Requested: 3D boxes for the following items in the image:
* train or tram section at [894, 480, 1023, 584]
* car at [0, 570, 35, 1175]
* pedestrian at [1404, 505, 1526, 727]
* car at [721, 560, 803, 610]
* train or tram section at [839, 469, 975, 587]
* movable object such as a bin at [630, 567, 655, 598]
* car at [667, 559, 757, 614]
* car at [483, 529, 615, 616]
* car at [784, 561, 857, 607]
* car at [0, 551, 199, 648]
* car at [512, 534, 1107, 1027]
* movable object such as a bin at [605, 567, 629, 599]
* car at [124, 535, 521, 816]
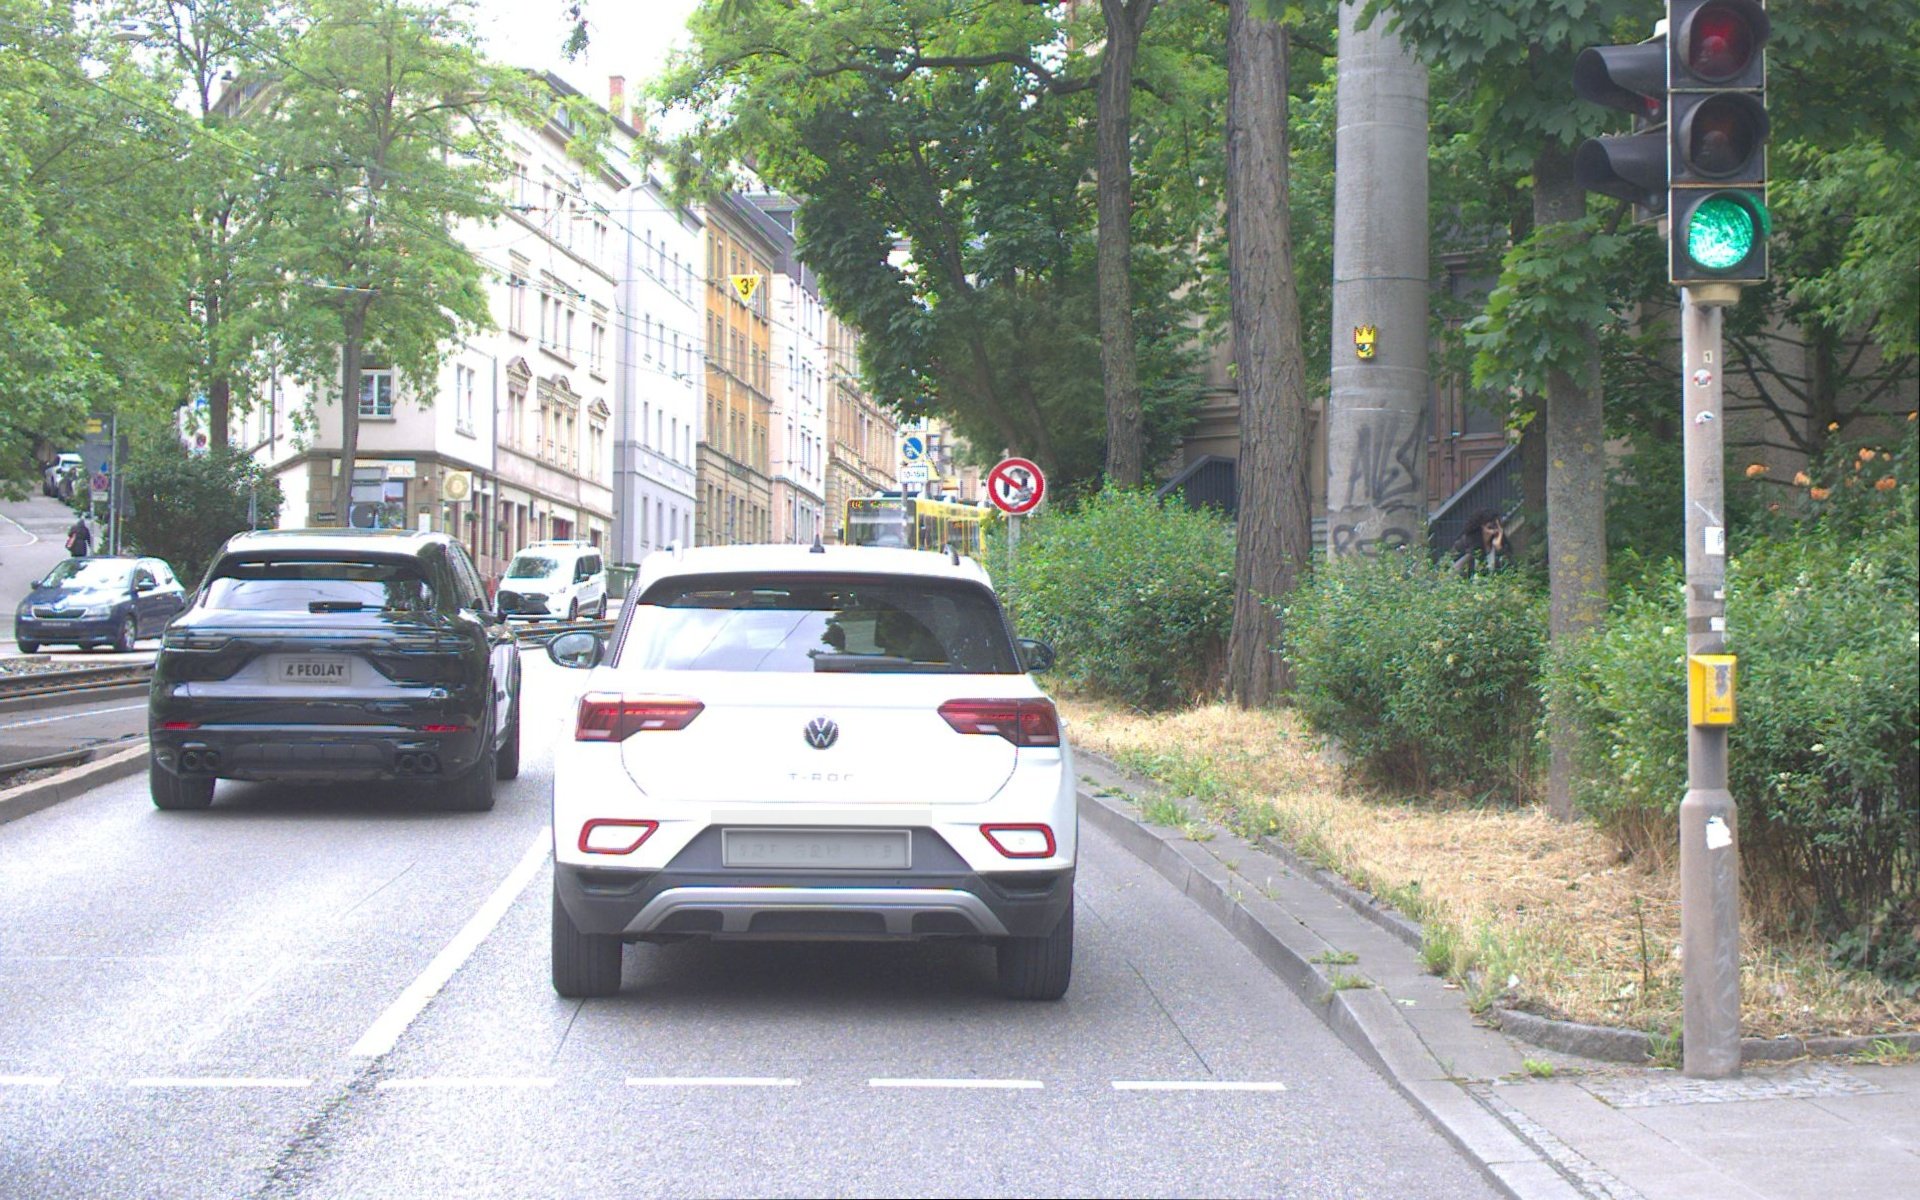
[{"bbox_3d":[0.103,-2.563,134.525,2.877,3.713,18.698,2,1,6],"label":"train or tram section"},{"bbox_3d":[-3.166,0.674,6.249,1.878,1.450,4.618,0,1,-2],"label":"car"},{"bbox_3d":[3.921,0.115,26.733,0.771,1.697,0.785,0,1,-5],"label":"pedestrian"},{"bbox_3d":[-6.179,-0.486,107.734,1.994,1.547,3.999,0,1,5],"label":"car"},{"bbox_3d":[-1.676,-2.387,117.849,2.883,3.713,14.853,2,1,6],"label":"train or tram section"},{"bbox_3d":[-10.993,-0.617,118.971,0.728,1.070,0.671,0,0,7],"label":"movable object such as a bin"},{"bbox_3d":[-7.139,-0.392,99.319,1.994,1.547,3.999,0,1,5],"label":"car"},{"bbox_3d":[-9.454,-0.674,79.432,1.948,1.939,5.001,0,1,6],"label":"car"},{"bbox_3d":[-4.735,-0.562,117.088,1.994,1.547,3.999,0,1,5],"label":"car"},{"bbox_3d":[-13.051,-0.038,52.312,1.766,1.403,4.082,0,1,4],"label":"car"},{"bbox_3d":[-0.633,0.548,12.877,1.878,1.549,4.001,0,1,-5],"label":"car"},{"bbox_3d":[-11.451,-0.579,114.756,0.687,1.070,0.676,0,0,7],"label":"movable object such as a bin"},{"bbox_3d":[-3.831,0.397,21.373,2.037,1.566,4.359,0,1,-5],"label":"car"}]
